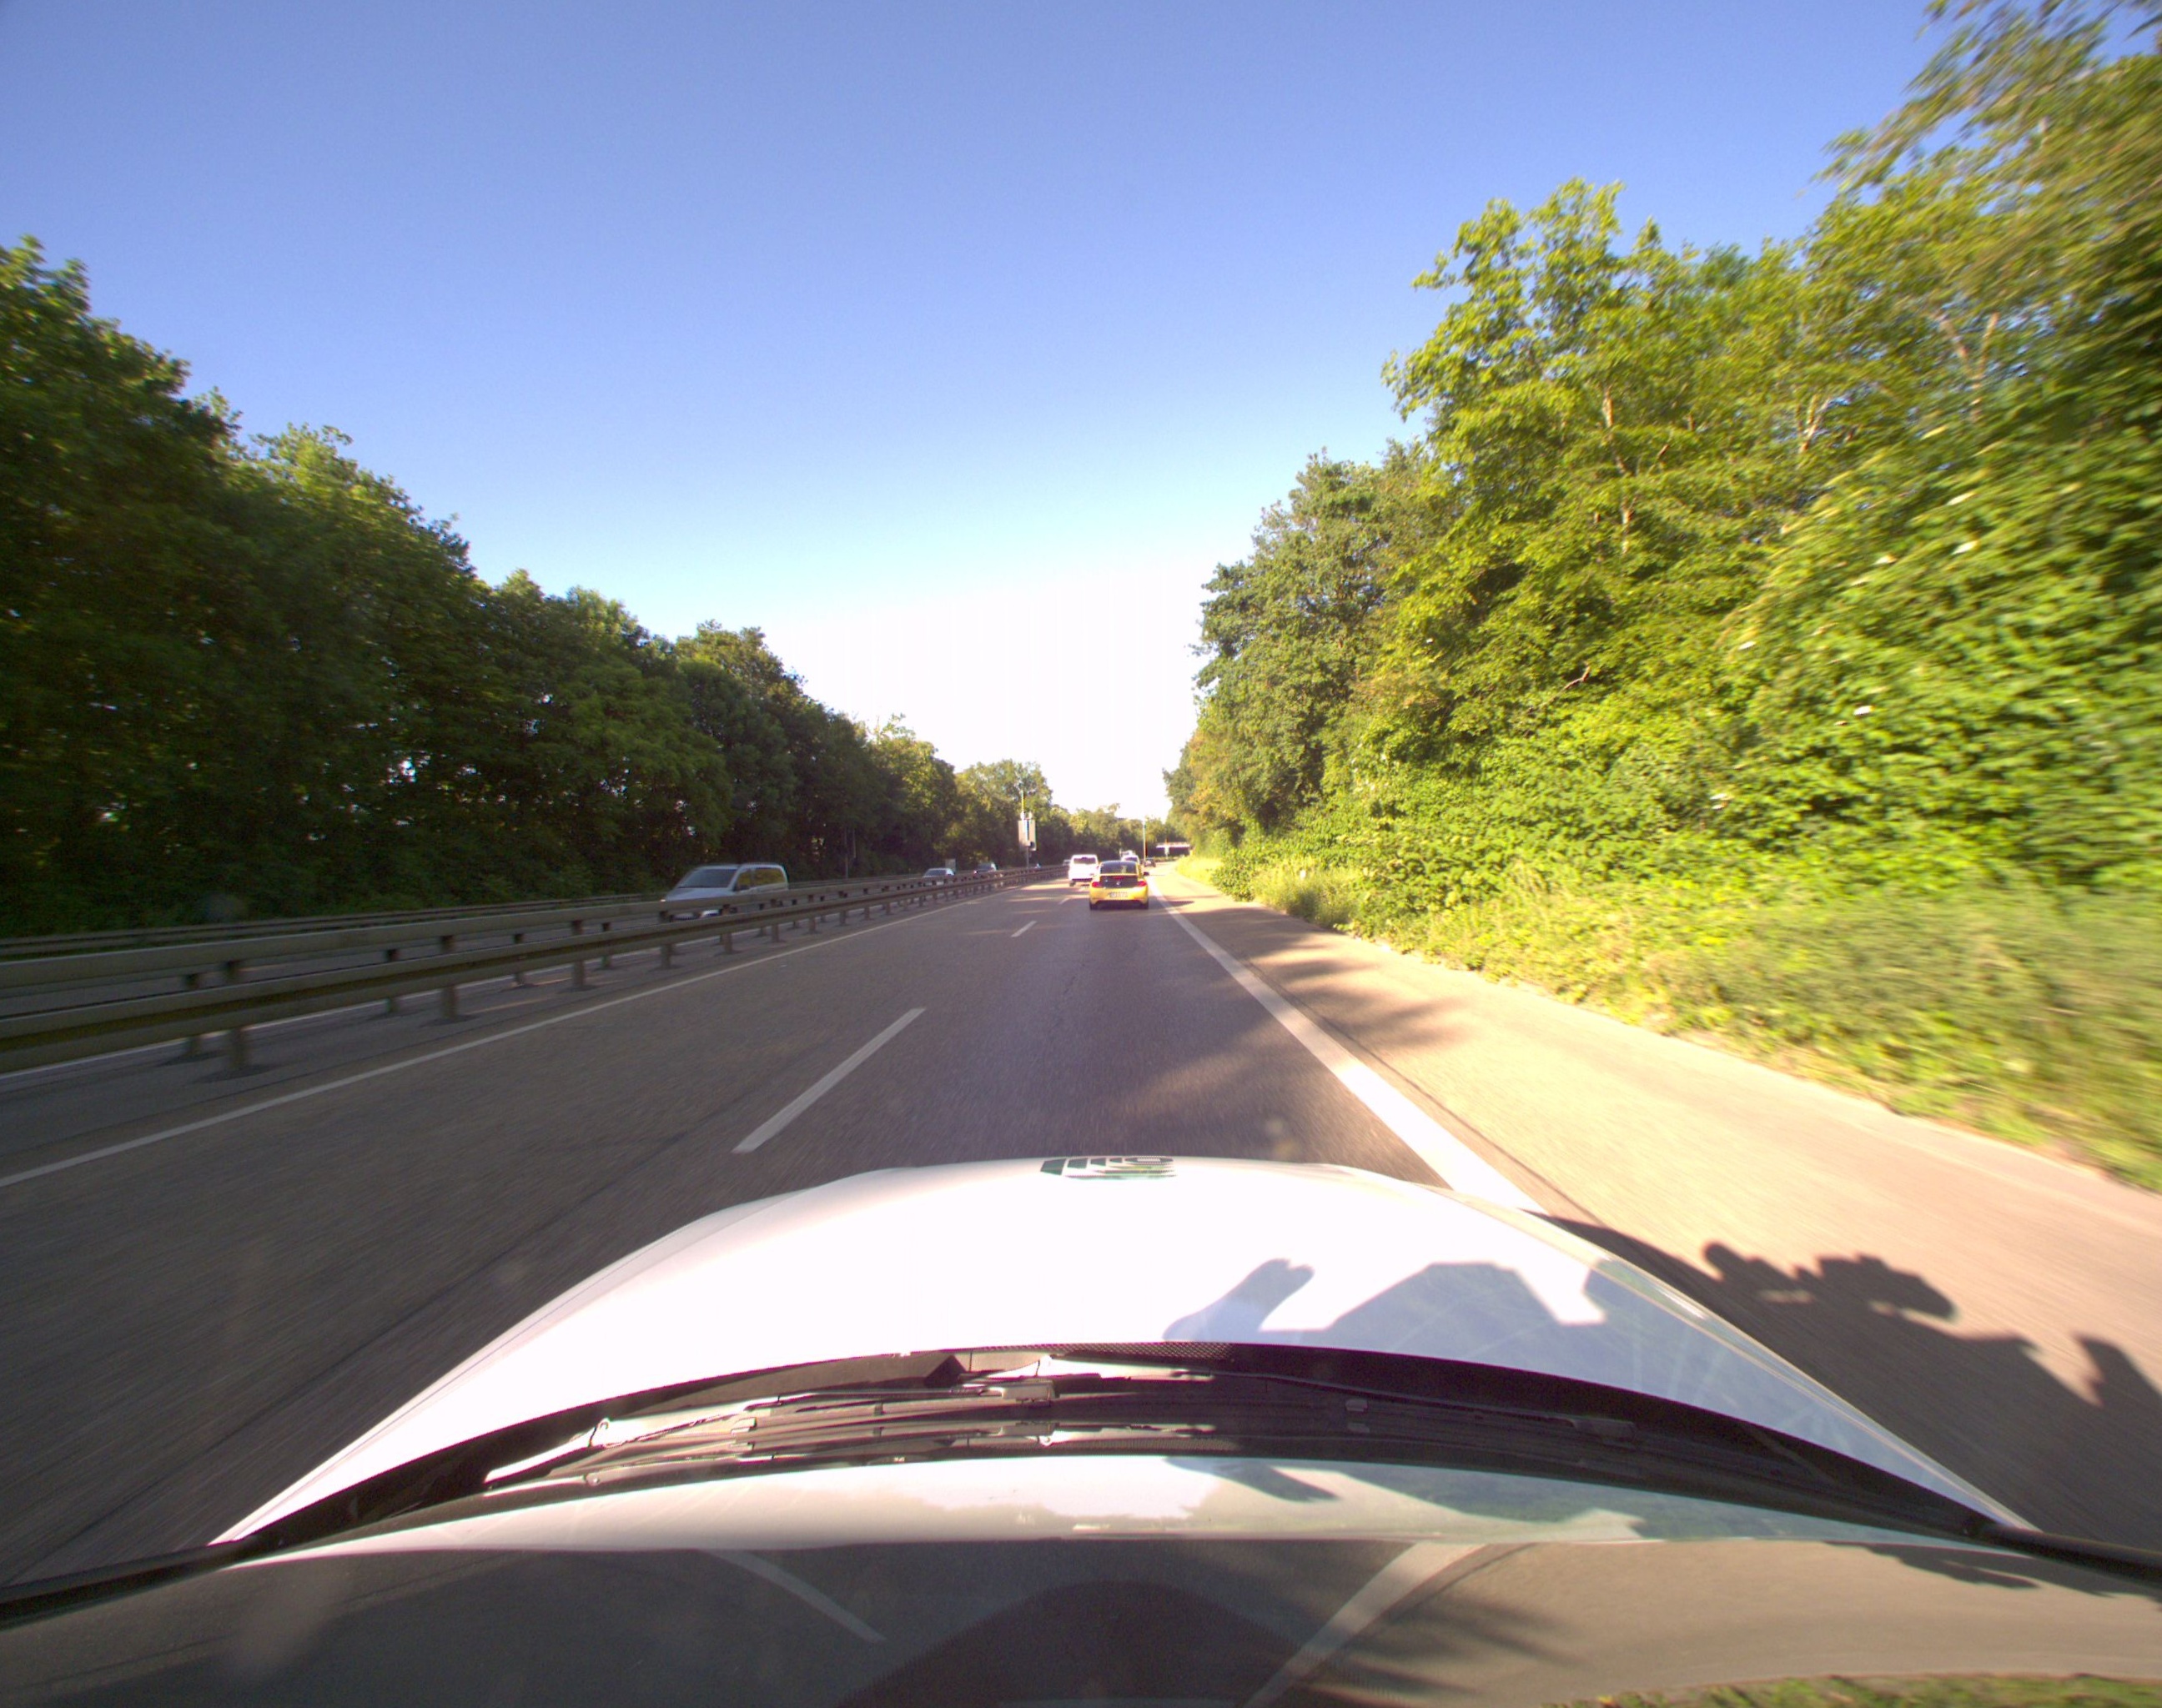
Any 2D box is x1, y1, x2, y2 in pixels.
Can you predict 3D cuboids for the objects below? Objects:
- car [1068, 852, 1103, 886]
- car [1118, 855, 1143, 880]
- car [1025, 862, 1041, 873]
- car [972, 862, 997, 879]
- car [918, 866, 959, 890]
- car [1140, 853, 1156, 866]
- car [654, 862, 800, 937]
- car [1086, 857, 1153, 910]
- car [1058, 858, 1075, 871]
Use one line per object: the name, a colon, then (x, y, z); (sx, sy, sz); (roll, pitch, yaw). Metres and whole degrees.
car: (0.295, 0.852, 46.956); (1.733, 1.830, 3.426); (-1, 0, 4)
car: (4.281, 1.117, 70.665); (1.985, 2.013, 4.004); (-4, 0, 4)
car: (-6.892, 1.896, 117.091); (1.590, 1.480, 3.915); (-2, 0, 5)
car: (-10.267, 1.728, 86.733); (1.590, 1.638, 4.681); (-4, 0, 5)
car: (-9.191, 1.546, 52.886); (1.590, 1.314, 3.915); (-4, 0, 5)
car: (10.917, 0.865, 131.903); (2.251, 1.875, 5.085); (-4, 0, 7)
car: (-10.623, 1.260, 24.999); (1.881, 1.903, 5.416); (-4, 0, 1)
car: (1.147, 0.877, 25.476); (1.932, 1.508, 3.423); (-1, 0, 1)
car: (-2.299, 1.617, 128.624); (1.984, 1.788, 5.034); (-4, 0, 5)
